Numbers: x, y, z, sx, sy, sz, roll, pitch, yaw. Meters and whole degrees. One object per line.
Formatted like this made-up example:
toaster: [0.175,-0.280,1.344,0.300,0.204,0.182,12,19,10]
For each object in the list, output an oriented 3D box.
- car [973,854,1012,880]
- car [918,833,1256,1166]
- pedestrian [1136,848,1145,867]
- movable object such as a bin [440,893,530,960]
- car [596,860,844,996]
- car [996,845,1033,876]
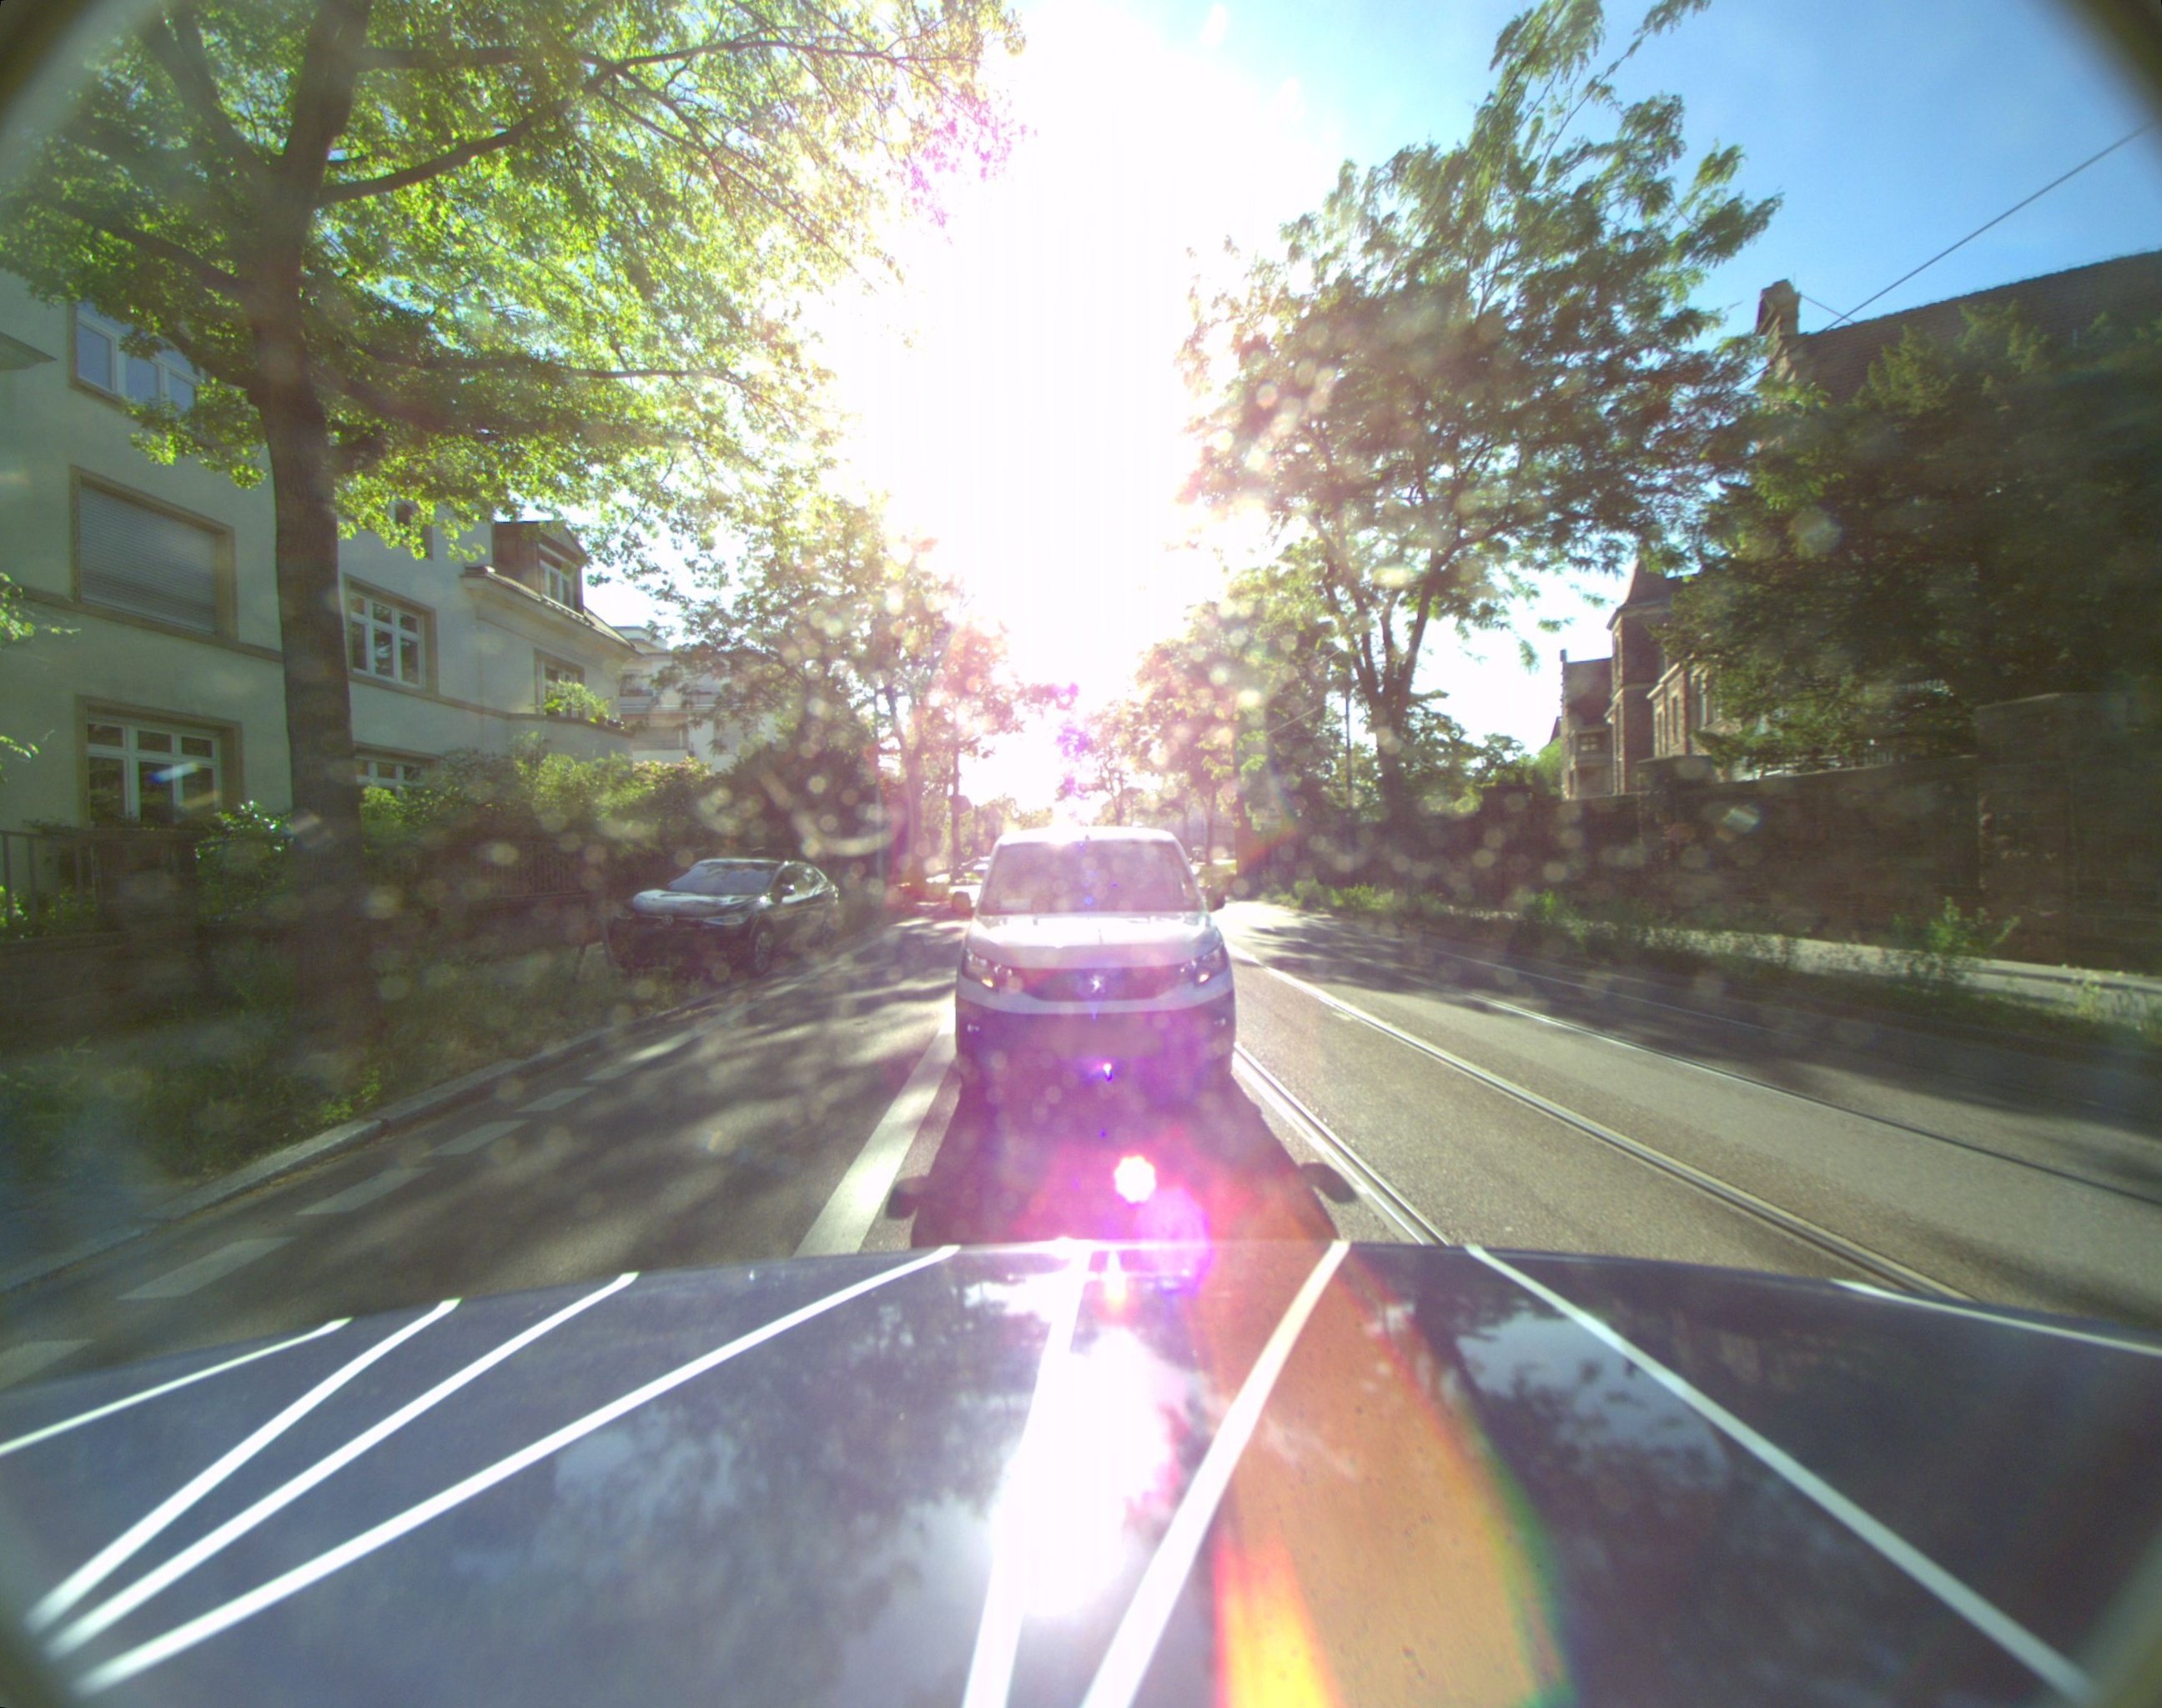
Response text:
car: [-5.240,0.754,45.452,1.787,1.443,4.000,-2,0,1]
car: [0.052,0.786,6.523,1.793,1.770,4.786,-2,0,0]
pedestrian: [5.730,0.351,72.673,0.634,1.796,0.674,-1,1,23]
movable object such as a bin: [-10.131,1.211,12.931,1.088,1.051,0.713,-1,1,21]
car: [-5.170,0.945,11.585,1.743,1.597,4.091,2,0,1]
car: [-4.487,0.432,51.917,1.998,2.002,4.583,-2,0,1]
